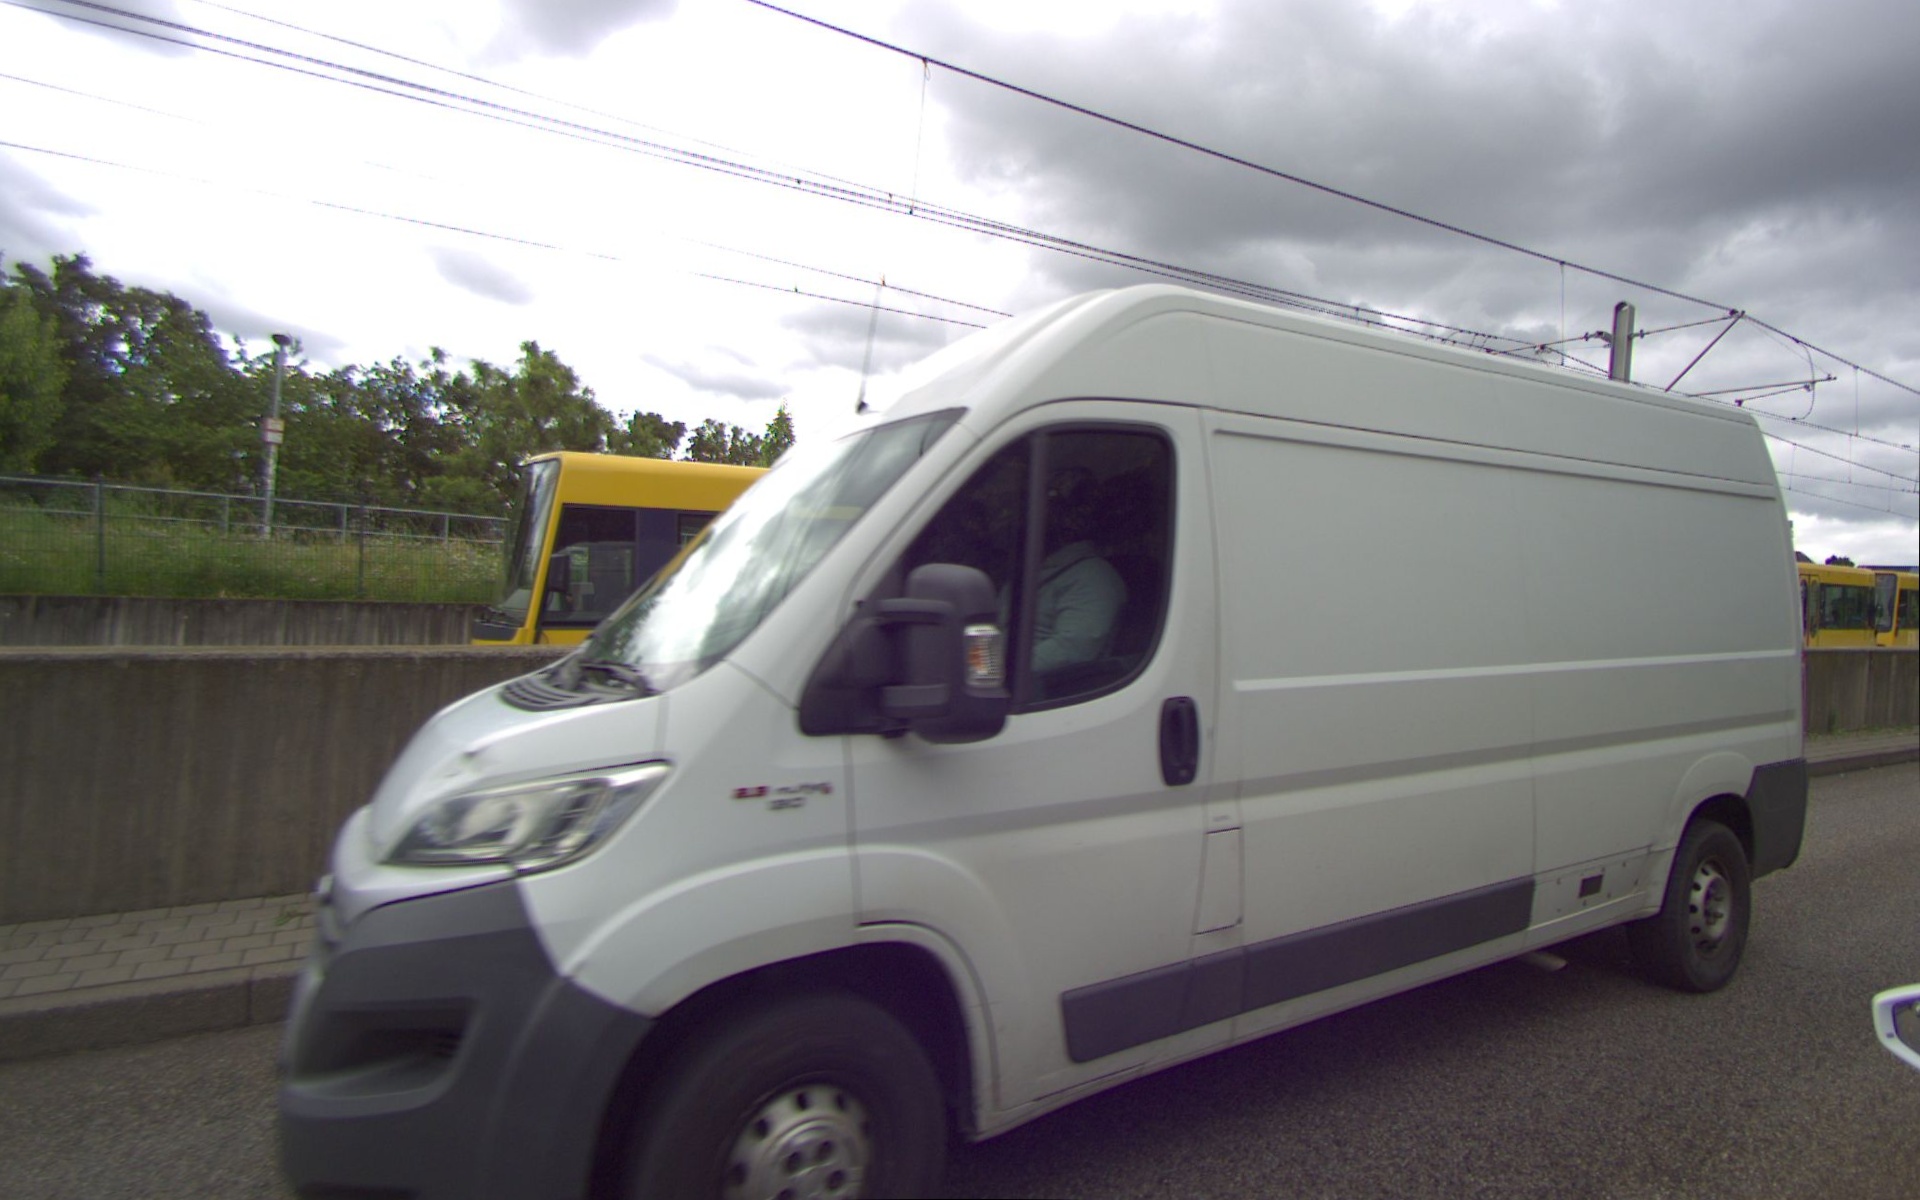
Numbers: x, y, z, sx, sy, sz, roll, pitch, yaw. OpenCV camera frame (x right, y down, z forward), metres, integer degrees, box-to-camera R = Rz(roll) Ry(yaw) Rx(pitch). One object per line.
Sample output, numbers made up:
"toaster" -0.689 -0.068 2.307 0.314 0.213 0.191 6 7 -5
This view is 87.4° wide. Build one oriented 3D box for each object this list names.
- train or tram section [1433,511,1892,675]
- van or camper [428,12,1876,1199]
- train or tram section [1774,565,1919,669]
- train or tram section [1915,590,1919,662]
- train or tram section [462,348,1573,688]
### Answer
"train or tram section" 18.717 0.183 25.430 18.900 3.117 2.787 2 -1 -34
"van or camper" 1.288 0.282 4.163 6.067 2.428 2.072 1 -1 -31
"train or tram section" 34.157 0.820 36.263 19.126 3.065 2.781 2 -1 -37
"train or tram section" 49.012 1.424 47.652 18.715 3.062 2.774 2 -1 -38
"train or tram section" 2.907 -0.442 15.394 18.700 3.158 2.797 2 -1 -31
